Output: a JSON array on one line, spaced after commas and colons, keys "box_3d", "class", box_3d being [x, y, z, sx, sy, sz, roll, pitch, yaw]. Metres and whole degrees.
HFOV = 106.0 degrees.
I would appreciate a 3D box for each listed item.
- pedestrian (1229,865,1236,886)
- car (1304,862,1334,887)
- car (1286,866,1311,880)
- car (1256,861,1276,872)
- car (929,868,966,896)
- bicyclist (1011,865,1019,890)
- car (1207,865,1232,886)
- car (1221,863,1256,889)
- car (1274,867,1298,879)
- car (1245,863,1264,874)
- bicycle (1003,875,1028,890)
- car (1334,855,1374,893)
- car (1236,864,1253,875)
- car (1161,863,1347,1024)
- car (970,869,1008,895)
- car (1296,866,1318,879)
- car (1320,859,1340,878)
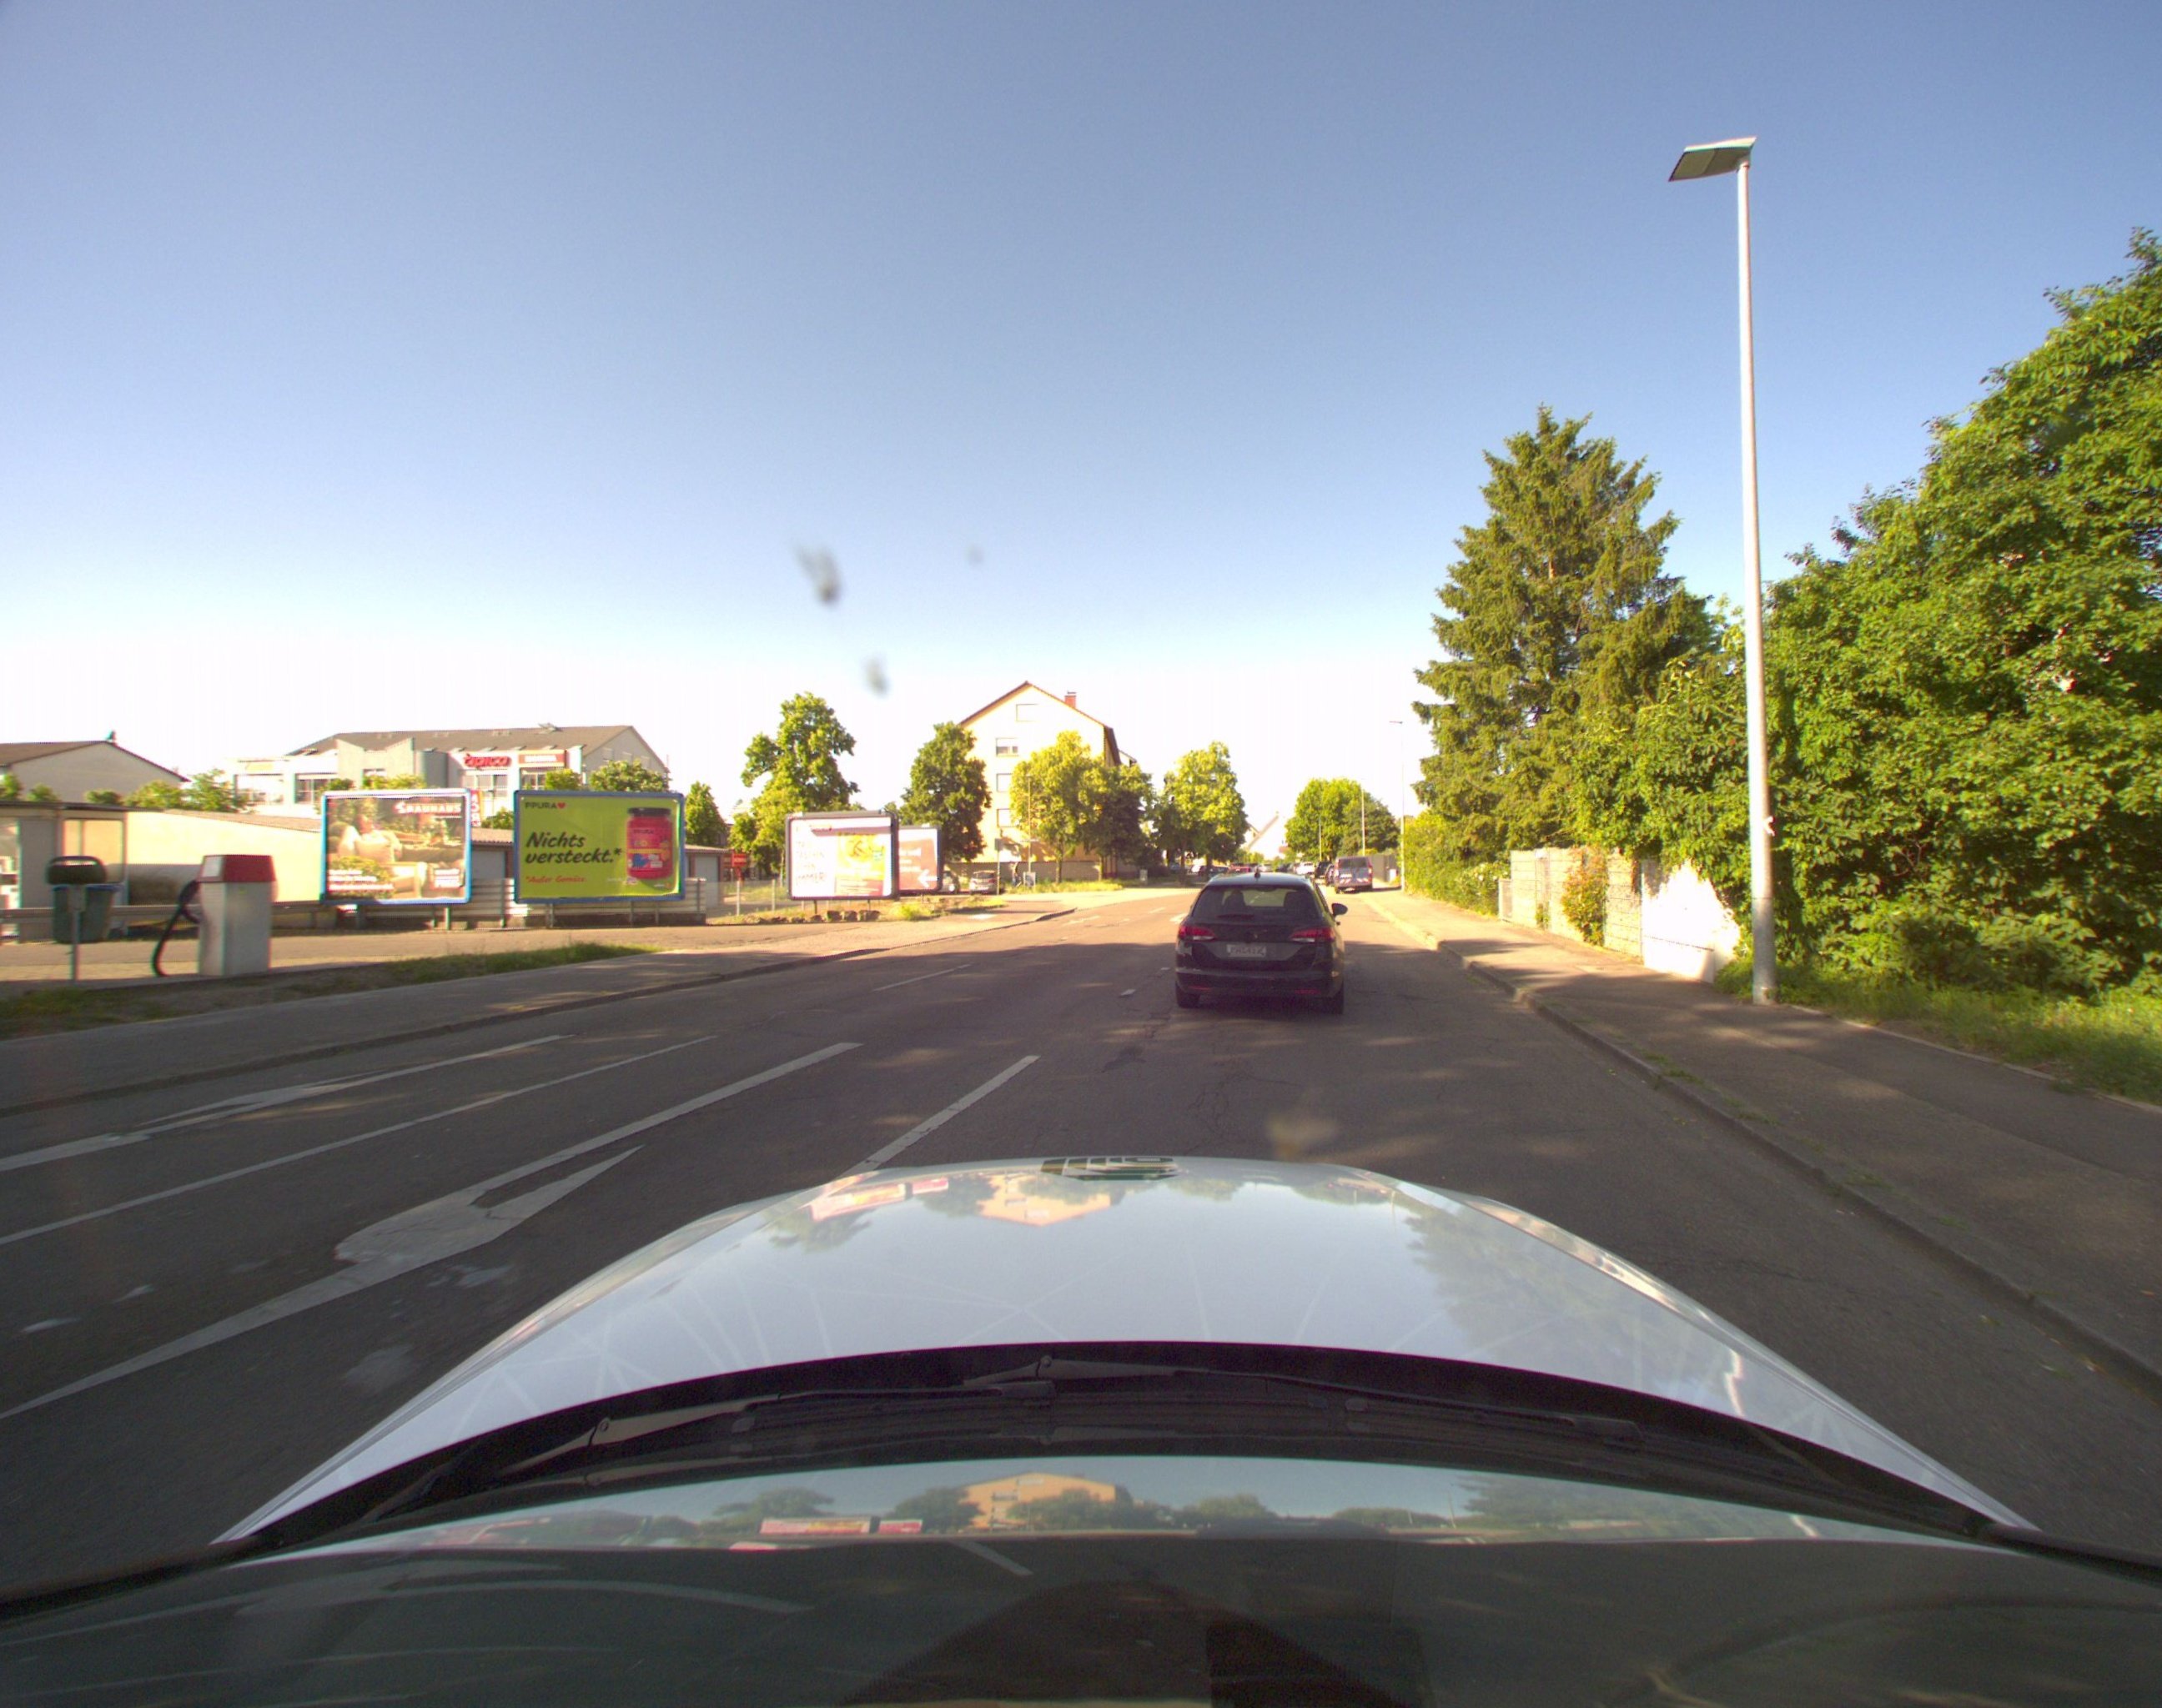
[{"box_3d": [12.653, 1.791, 68.222, 0.501, 1.761, 0.697, -2, -3, 12], "class": "pedestrian"}, {"box_3d": [15.859, 1.314, 54.311, 1.752, 1.480, 5.012, -3, -1, 16], "class": "car"}, {"box_3d": [26.830, 2.368, 100.477, 1.905, 1.600, 4.294, -2, -2, 1], "class": "car"}, {"box_3d": [26.143, 1.803, 115.398, 1.815, 1.534, 4.256, -1, -2, -1], "class": "car"}, {"box_3d": [-8.451, 1.780, 51.965, 1.692, 1.622, 3.881, -1, 0, 0], "class": "car"}, {"box_3d": [-4.435, 1.563, 54.711, 0.389, 1.686, 0.380, 0, -3, -16], "class": "bicyclist"}, {"box_3d": [10.501, 1.650, 61.463, 1.689, 1.480, 4.065, 1, -2, 12], "class": "car"}, {"box_3d": [10.291, 1.411, 52.975, 1.997, 1.568, 4.410, 0, 0, 14], "class": "car"}, {"box_3d": [26.721, 2.498, 106.162, 1.999, 1.475, 4.292, -1, -2, 0], "class": "car"}, {"box_3d": [25.801, 2.112, 121.092, 1.815, 1.534, 4.256, -1, -2, -1], "class": "car"}, {"box_3d": [-4.419, 1.902, 54.692, 1.620, 1.011, 0.404, 0, -3, -17], "class": "bicycle"}, {"box_3d": [14.466, 1.064, 43.363, 1.822, 1.908, 4.717, -1, -1, 16], "class": "car"}, {"box_3d": [25.398, 2.411, 126.547, 1.815, 1.534, 4.256, -1, -2, -1], "class": "car"}, {"box_3d": [2.235, 0.885, 9.891, 1.748, 1.491, 4.308, 0, -1, 16], "class": "car"}, {"box_3d": [-5.721, 1.698, 50.937, 1.722, 1.464, 3.884, -1, 0, 3], "class": "car"}, {"box_3d": [26.571, 2.160, 95.699, 1.752, 1.480, 4.300, -2, -2, 5], "class": "car"}, {"box_3d": [24.360, 1.432, 79.846, 1.764, 1.724, 4.312, -2, -2, 16], "class": "car"}]
